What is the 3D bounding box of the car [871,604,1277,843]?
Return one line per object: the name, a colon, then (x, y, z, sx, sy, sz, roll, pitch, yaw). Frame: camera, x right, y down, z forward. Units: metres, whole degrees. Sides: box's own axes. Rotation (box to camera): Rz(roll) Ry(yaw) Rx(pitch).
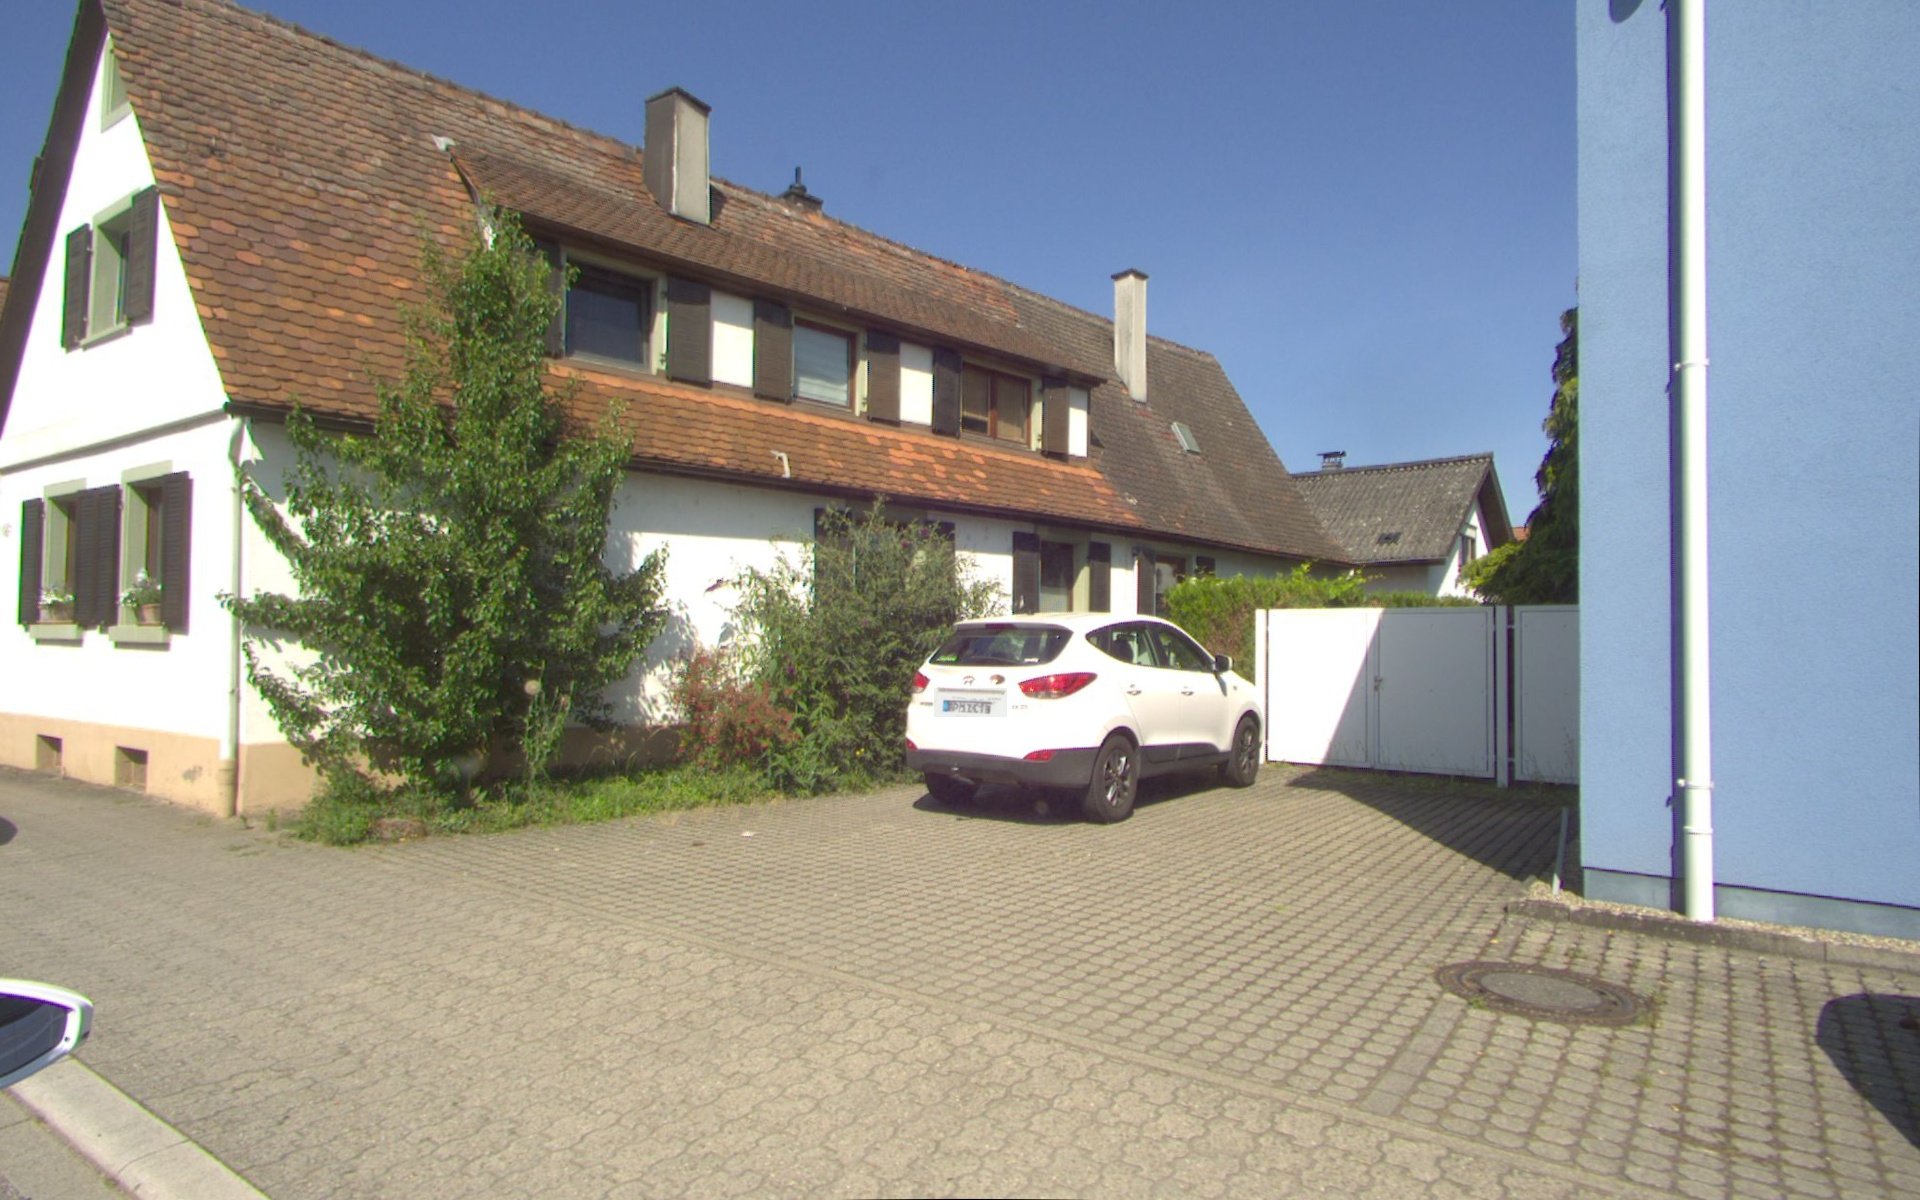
car: (1.262, 0.962, 9.240, 1.790, 1.678, 4.159, -2, -3, 39)
